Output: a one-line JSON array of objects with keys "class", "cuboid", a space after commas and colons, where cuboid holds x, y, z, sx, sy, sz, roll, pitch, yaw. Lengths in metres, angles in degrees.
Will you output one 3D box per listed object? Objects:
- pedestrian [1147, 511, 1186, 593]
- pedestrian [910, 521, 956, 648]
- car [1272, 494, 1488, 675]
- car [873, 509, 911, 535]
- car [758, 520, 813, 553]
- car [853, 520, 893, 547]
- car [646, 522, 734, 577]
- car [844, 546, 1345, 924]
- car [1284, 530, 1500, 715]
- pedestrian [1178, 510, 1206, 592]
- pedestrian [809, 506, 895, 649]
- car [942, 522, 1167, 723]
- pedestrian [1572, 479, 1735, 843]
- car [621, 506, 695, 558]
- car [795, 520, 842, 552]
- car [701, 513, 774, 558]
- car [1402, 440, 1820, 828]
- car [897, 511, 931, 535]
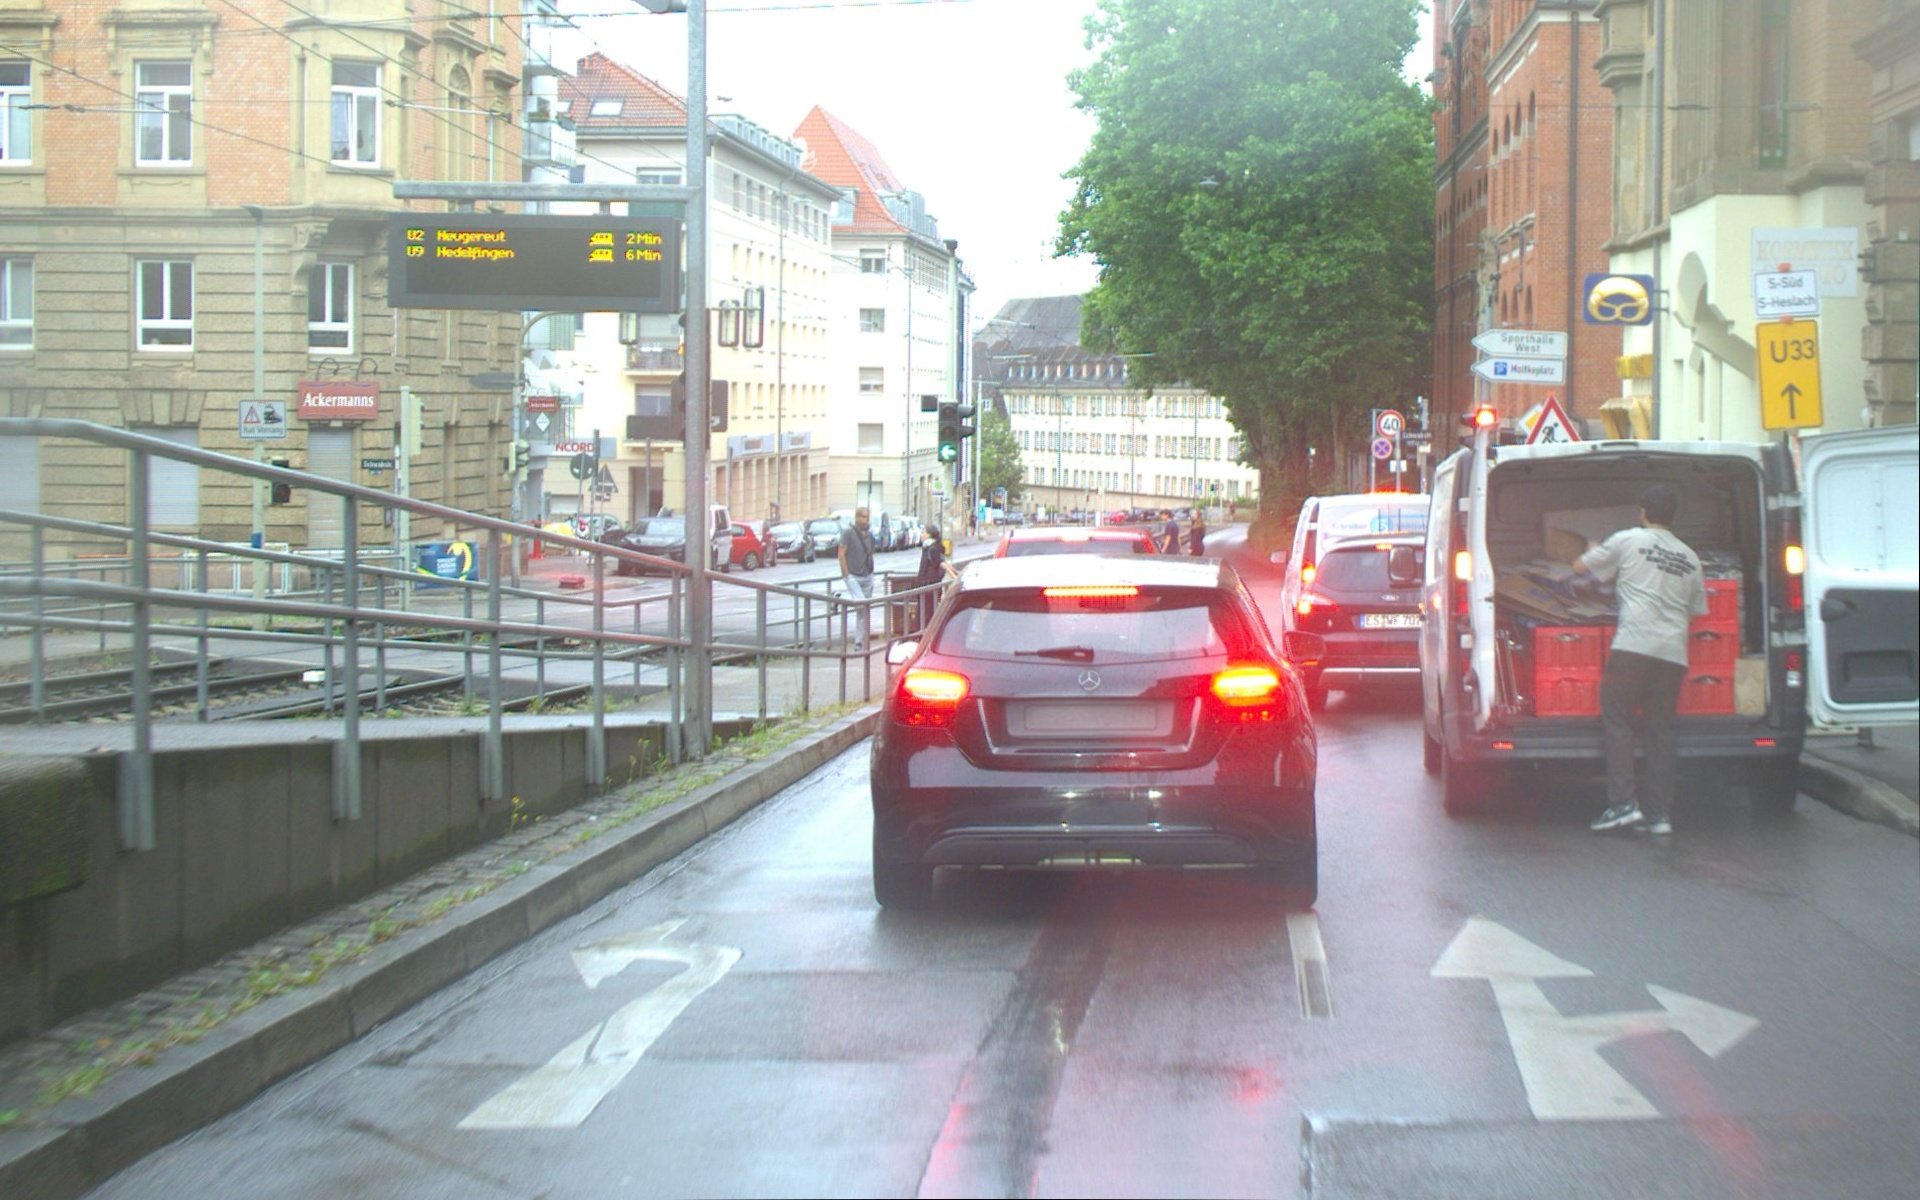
[{"class": "pedestrian", "cuboid": [4.188, -0.981, 69.640, 0.679, 1.655, 0.676, 0, 1, 11]}, {"class": "pedestrian", "cuboid": [-0.329, -0.188, 41.666, 0.531, 1.525, 0.436, 0, 1, -3]}, {"class": "car", "cuboid": [4.448, -0.219, 36.934, 1.933, 1.825, 4.281, 0, 2, 2]}, {"class": "car", "cuboid": [-3.091, -3.577, 157.061, 1.395, 1.167, 3.161, 0, 1, 5]}, {"class": "car", "cuboid": [-5.930, -2.157, 116.929, 1.437, 1.103, 3.161, 0, 1, 5]}, {"class": "car", "cuboid": [-3.739, -2.863, 147.763, 1.395, 1.167, 3.161, 0, 1, 5]}, {"class": "car", "cuboid": [-7.662, -1.454, 97.798, 1.786, 1.525, 4.462, 0, 1, 5]}, {"class": "car", "cuboid": [0.695, 0.477, 14.988, 1.895, 1.385, 3.999, 0, 1, 6]}, {"class": "car", "cuboid": [3.805, 0.135, 29.778, 1.714, 1.464, 4.279, 0, 1, 9]}, {"class": "pedestrian", "cuboid": [4.761, -1.003, 70.578, 0.518, 1.660, 0.476, 1, 2, 8]}, {"class": "pedestrian", "cuboid": [-1.316, -0.287, 41.848, 0.739, 1.718, 0.741, -1, 2, -38]}, {"class": "car", "cuboid": [0.798, 0.127, 27.683, 1.680, 1.484, 3.613, -1, 2, 3]}, {"class": "pedestrian", "cuboid": [3.427, 0.288, 17.031, 0.685, 1.748, 0.836, -1, 1, 6]}, {"class": "car", "cuboid": [-7.985, -1.825, 91.173, 1.452, 1.314, 3.295, 1, 2, 4]}, {"class": "car", "cuboid": [-5.340, -2.433, 130.071, 1.395, 1.167, 3.161, 0, 1, 5]}, {"class": "car", "cuboid": [-6.747, -1.970, 104.502, 1.680, 1.351, 3.702, 0, 1, 5]}, {"class": "car", "cuboid": [3.543, 0.116, 19.498, 1.921, 1.929, 4.684, 0, 1, 6]}, {"class": "car", "cuboid": [-2.265, -3.784, 169.598, 1.395, 1.167, 3.161, 0, 1, 5]}]
